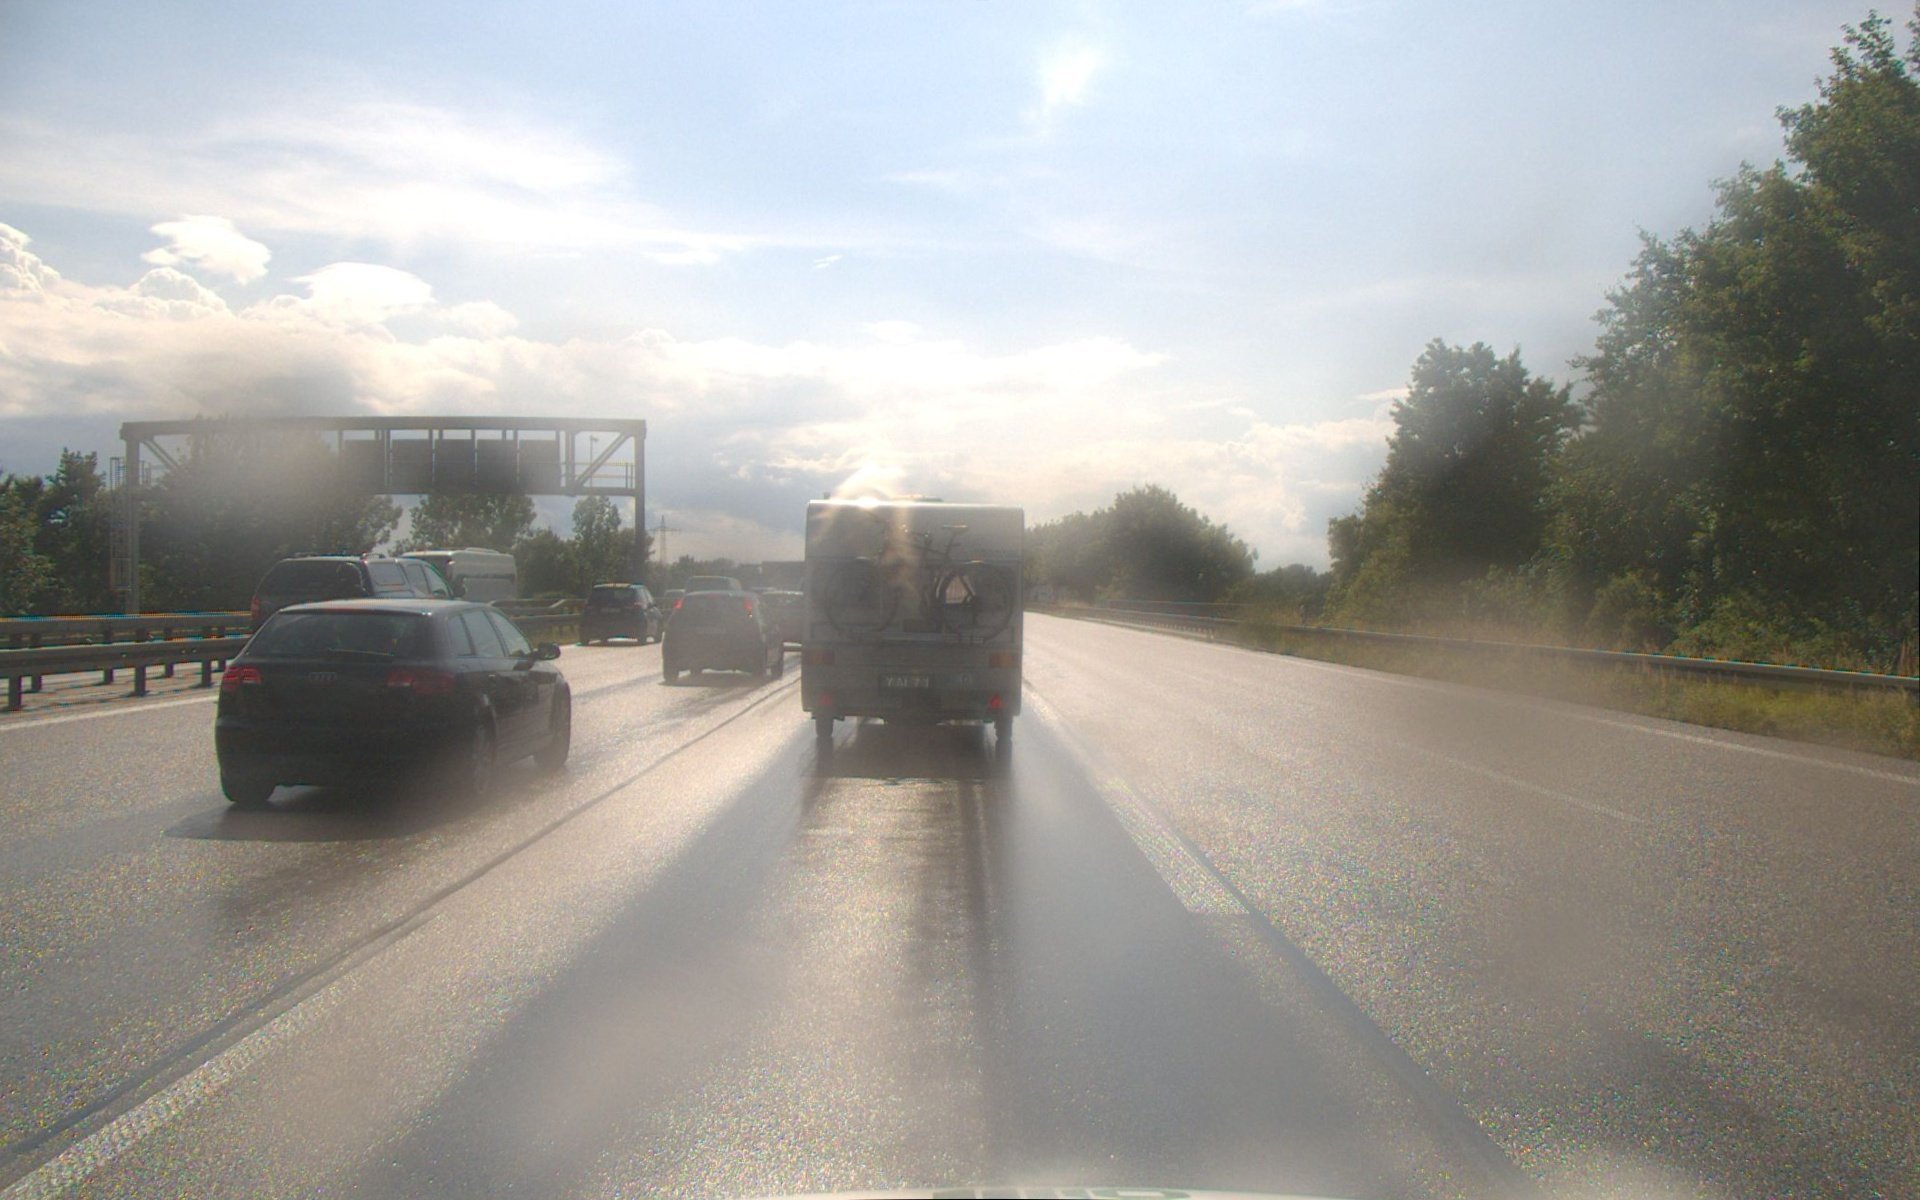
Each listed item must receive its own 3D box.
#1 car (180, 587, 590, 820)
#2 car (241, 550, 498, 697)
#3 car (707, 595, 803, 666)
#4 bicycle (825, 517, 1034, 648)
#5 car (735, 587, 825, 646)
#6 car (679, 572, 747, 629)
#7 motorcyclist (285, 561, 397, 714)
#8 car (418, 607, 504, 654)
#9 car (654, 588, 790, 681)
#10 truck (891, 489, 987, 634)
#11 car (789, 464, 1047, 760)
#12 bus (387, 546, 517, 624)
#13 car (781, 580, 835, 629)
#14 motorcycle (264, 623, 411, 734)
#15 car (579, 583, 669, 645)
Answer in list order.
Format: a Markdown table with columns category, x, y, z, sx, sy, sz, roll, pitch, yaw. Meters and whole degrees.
| category | x | y | z | sx | sy | sz | roll | pitch | yaw |
| --- | --- | --- | --- | --- | --- | --- | --- | --- | --- |
| car | -4.093 | 0.642 | 12.505 | 1.714 | 1.458 | 4.053 | 1 | 0 | -1 |
| car | -8.390 | 0.284 | 24.090 | 1.769 | 1.876 | 5.418 | 1 | 0 | 0 |
| car | -4.693 | 0.672 | 38.322 | 1.825 | 1.534 | 3.999 | 1 | 0 | -2 |
| bicycle | -0.275 | -0.158 | 15.272 | 1.894 | 1.161 | 0.384 | 1 | 0 | 1 |
| car | -4.725 | 0.402 | 43.843 | 1.947 | 1.483 | 3.826 | 1 | 0 | 0 |
| car | -8.956 | 0.014 | 60.262 | 1.810 | 1.967 | 5.015 | 1 | 0 | -1 |
| motorcyclist | -6.562 | 0.386 | 17.591 | 0.779 | 1.564 | 1.093 | 1 | 0 | -1 |
| car | -16.706 | 0.989 | 55.544 | 1.740 | 1.467 | 3.999 | 1 | 0 | -2 |
| car | -3.997 | 0.540 | 28.363 | 1.722 | 1.468 | 4.000 | 1 | 0 | 0 |
| truck | -0.836 | -1.265 | 59.199 | 3.082 | 4.707 | 10.732 | 1 | 0 | -2 |
| car | -0.385 | 0.114 | 17.472 | 2.361 | 2.721 | 4.000 | 1 | 0 | 0 |
| bus | -23.697 | -0.681 | 77.996 | 2.880 | 3.343 | 12.205 | 1 | 0 | -3 |
| car | -5.415 | 0.149 | 59.255 | 1.654 | 1.691 | 3.640 | 1 | 0 | -1 |
| motorcycle | -6.558 | 0.791 | 17.553 | 0.676 | 1.045 | 2.388 | 1 | 0 | -1 |
| car | -9.138 | 0.363 | 45.260 | 1.747 | 1.606 | 3.915 | 1 | 0 | -2 |
